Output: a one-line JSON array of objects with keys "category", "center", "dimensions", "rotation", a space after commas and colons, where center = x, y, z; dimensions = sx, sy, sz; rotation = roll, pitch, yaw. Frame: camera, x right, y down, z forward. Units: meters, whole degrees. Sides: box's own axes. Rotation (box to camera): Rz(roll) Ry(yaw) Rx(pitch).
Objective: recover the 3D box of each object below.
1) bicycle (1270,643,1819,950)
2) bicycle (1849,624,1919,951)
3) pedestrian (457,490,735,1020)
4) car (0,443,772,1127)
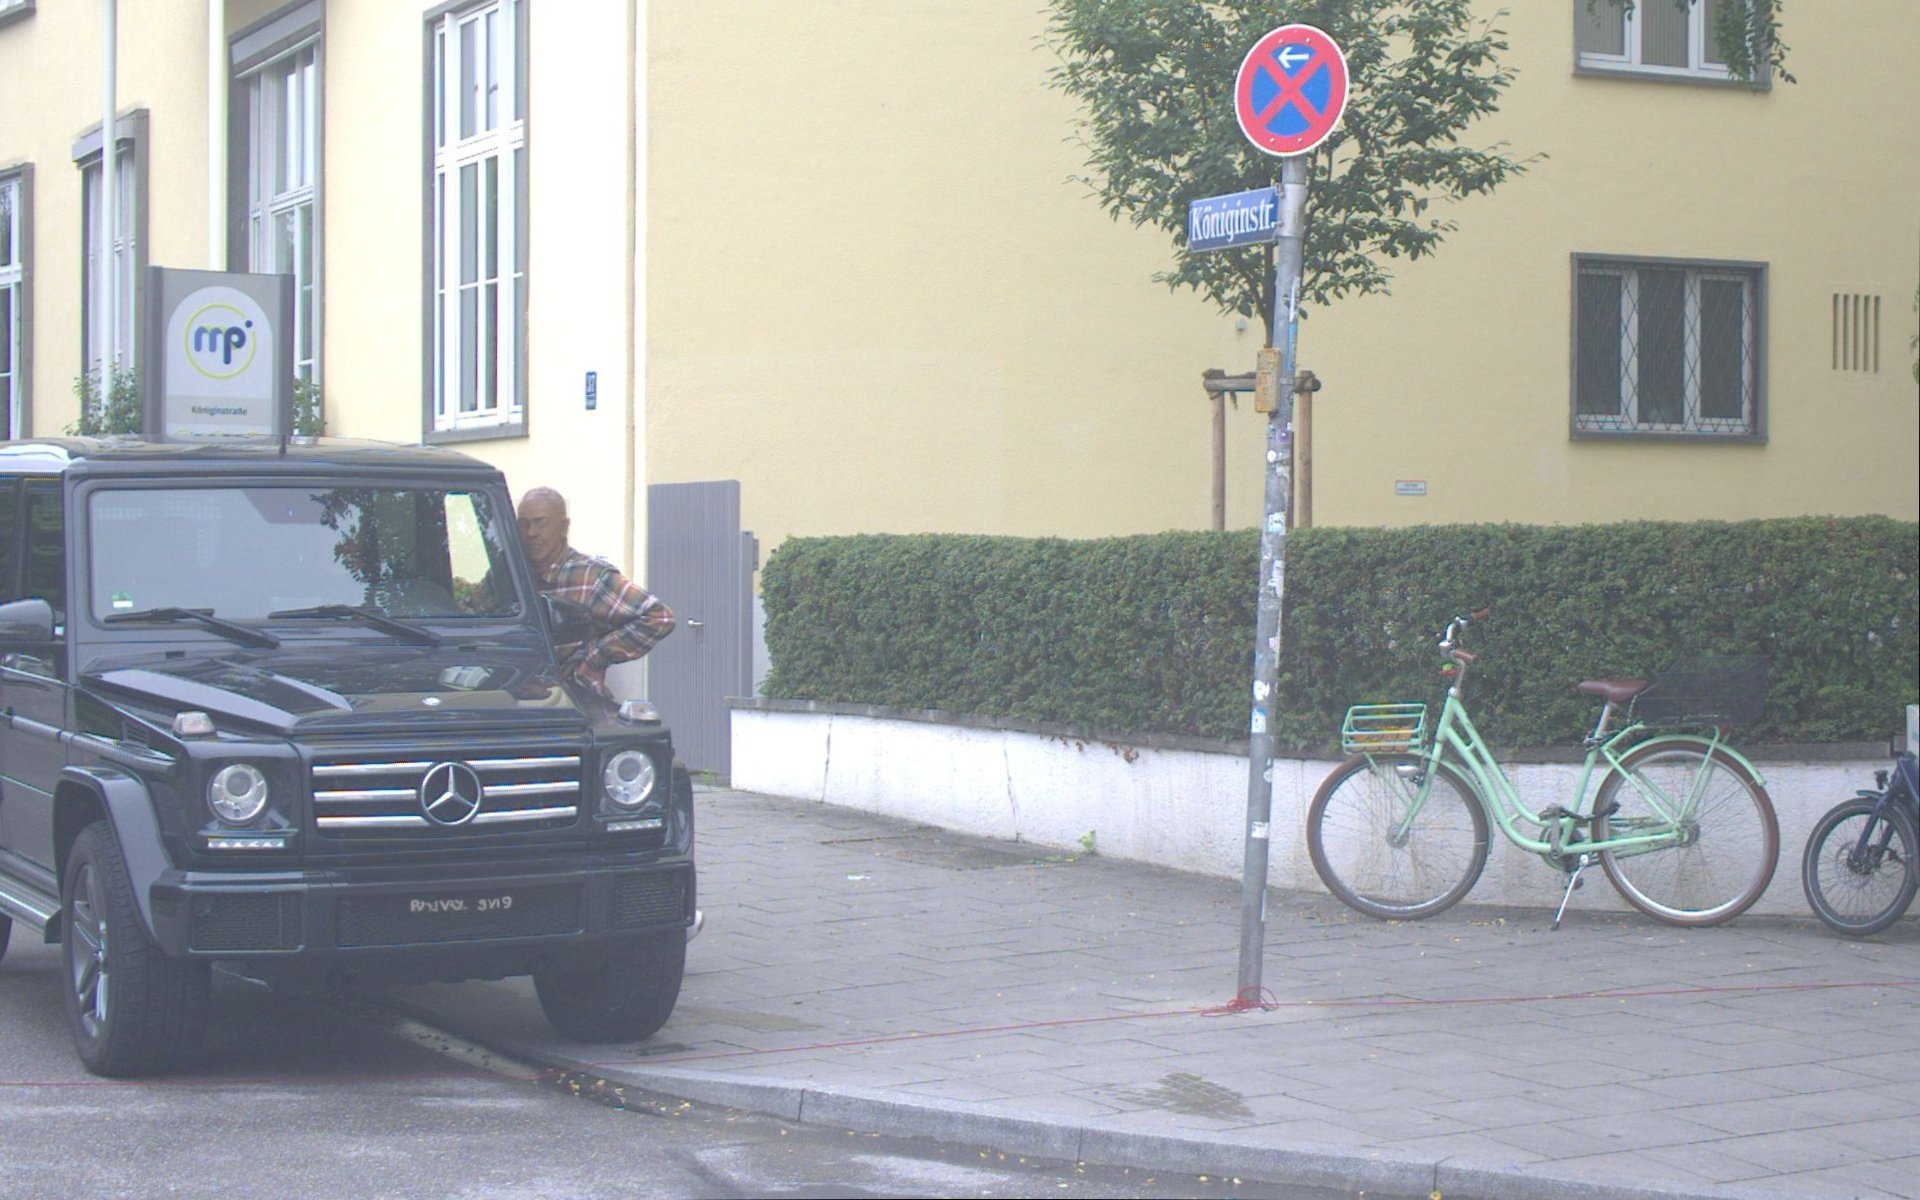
[{"category": "bicycle", "center": [2.176, 0.724, 12.923], "dimensions": [1.947, 1.081, 0.528], "rotation": [-2, 0, 29]}, {"category": "bicycle", "center": [4.304, 0.650, 12.141], "dimensions": [2.168, 1.112, 0.640], "rotation": [0, 1, 3]}, {"category": "pedestrian", "center": [-1.280, 0.503, 11.947], "dimensions": [0.848, 1.751, 0.954], "rotation": [-1, 1, -12]}, {"category": "car", "center": [-2.453, 0.459, 11.925], "dimensions": [1.873, 1.881, 4.619], "rotation": [-1, 1, -27]}]
